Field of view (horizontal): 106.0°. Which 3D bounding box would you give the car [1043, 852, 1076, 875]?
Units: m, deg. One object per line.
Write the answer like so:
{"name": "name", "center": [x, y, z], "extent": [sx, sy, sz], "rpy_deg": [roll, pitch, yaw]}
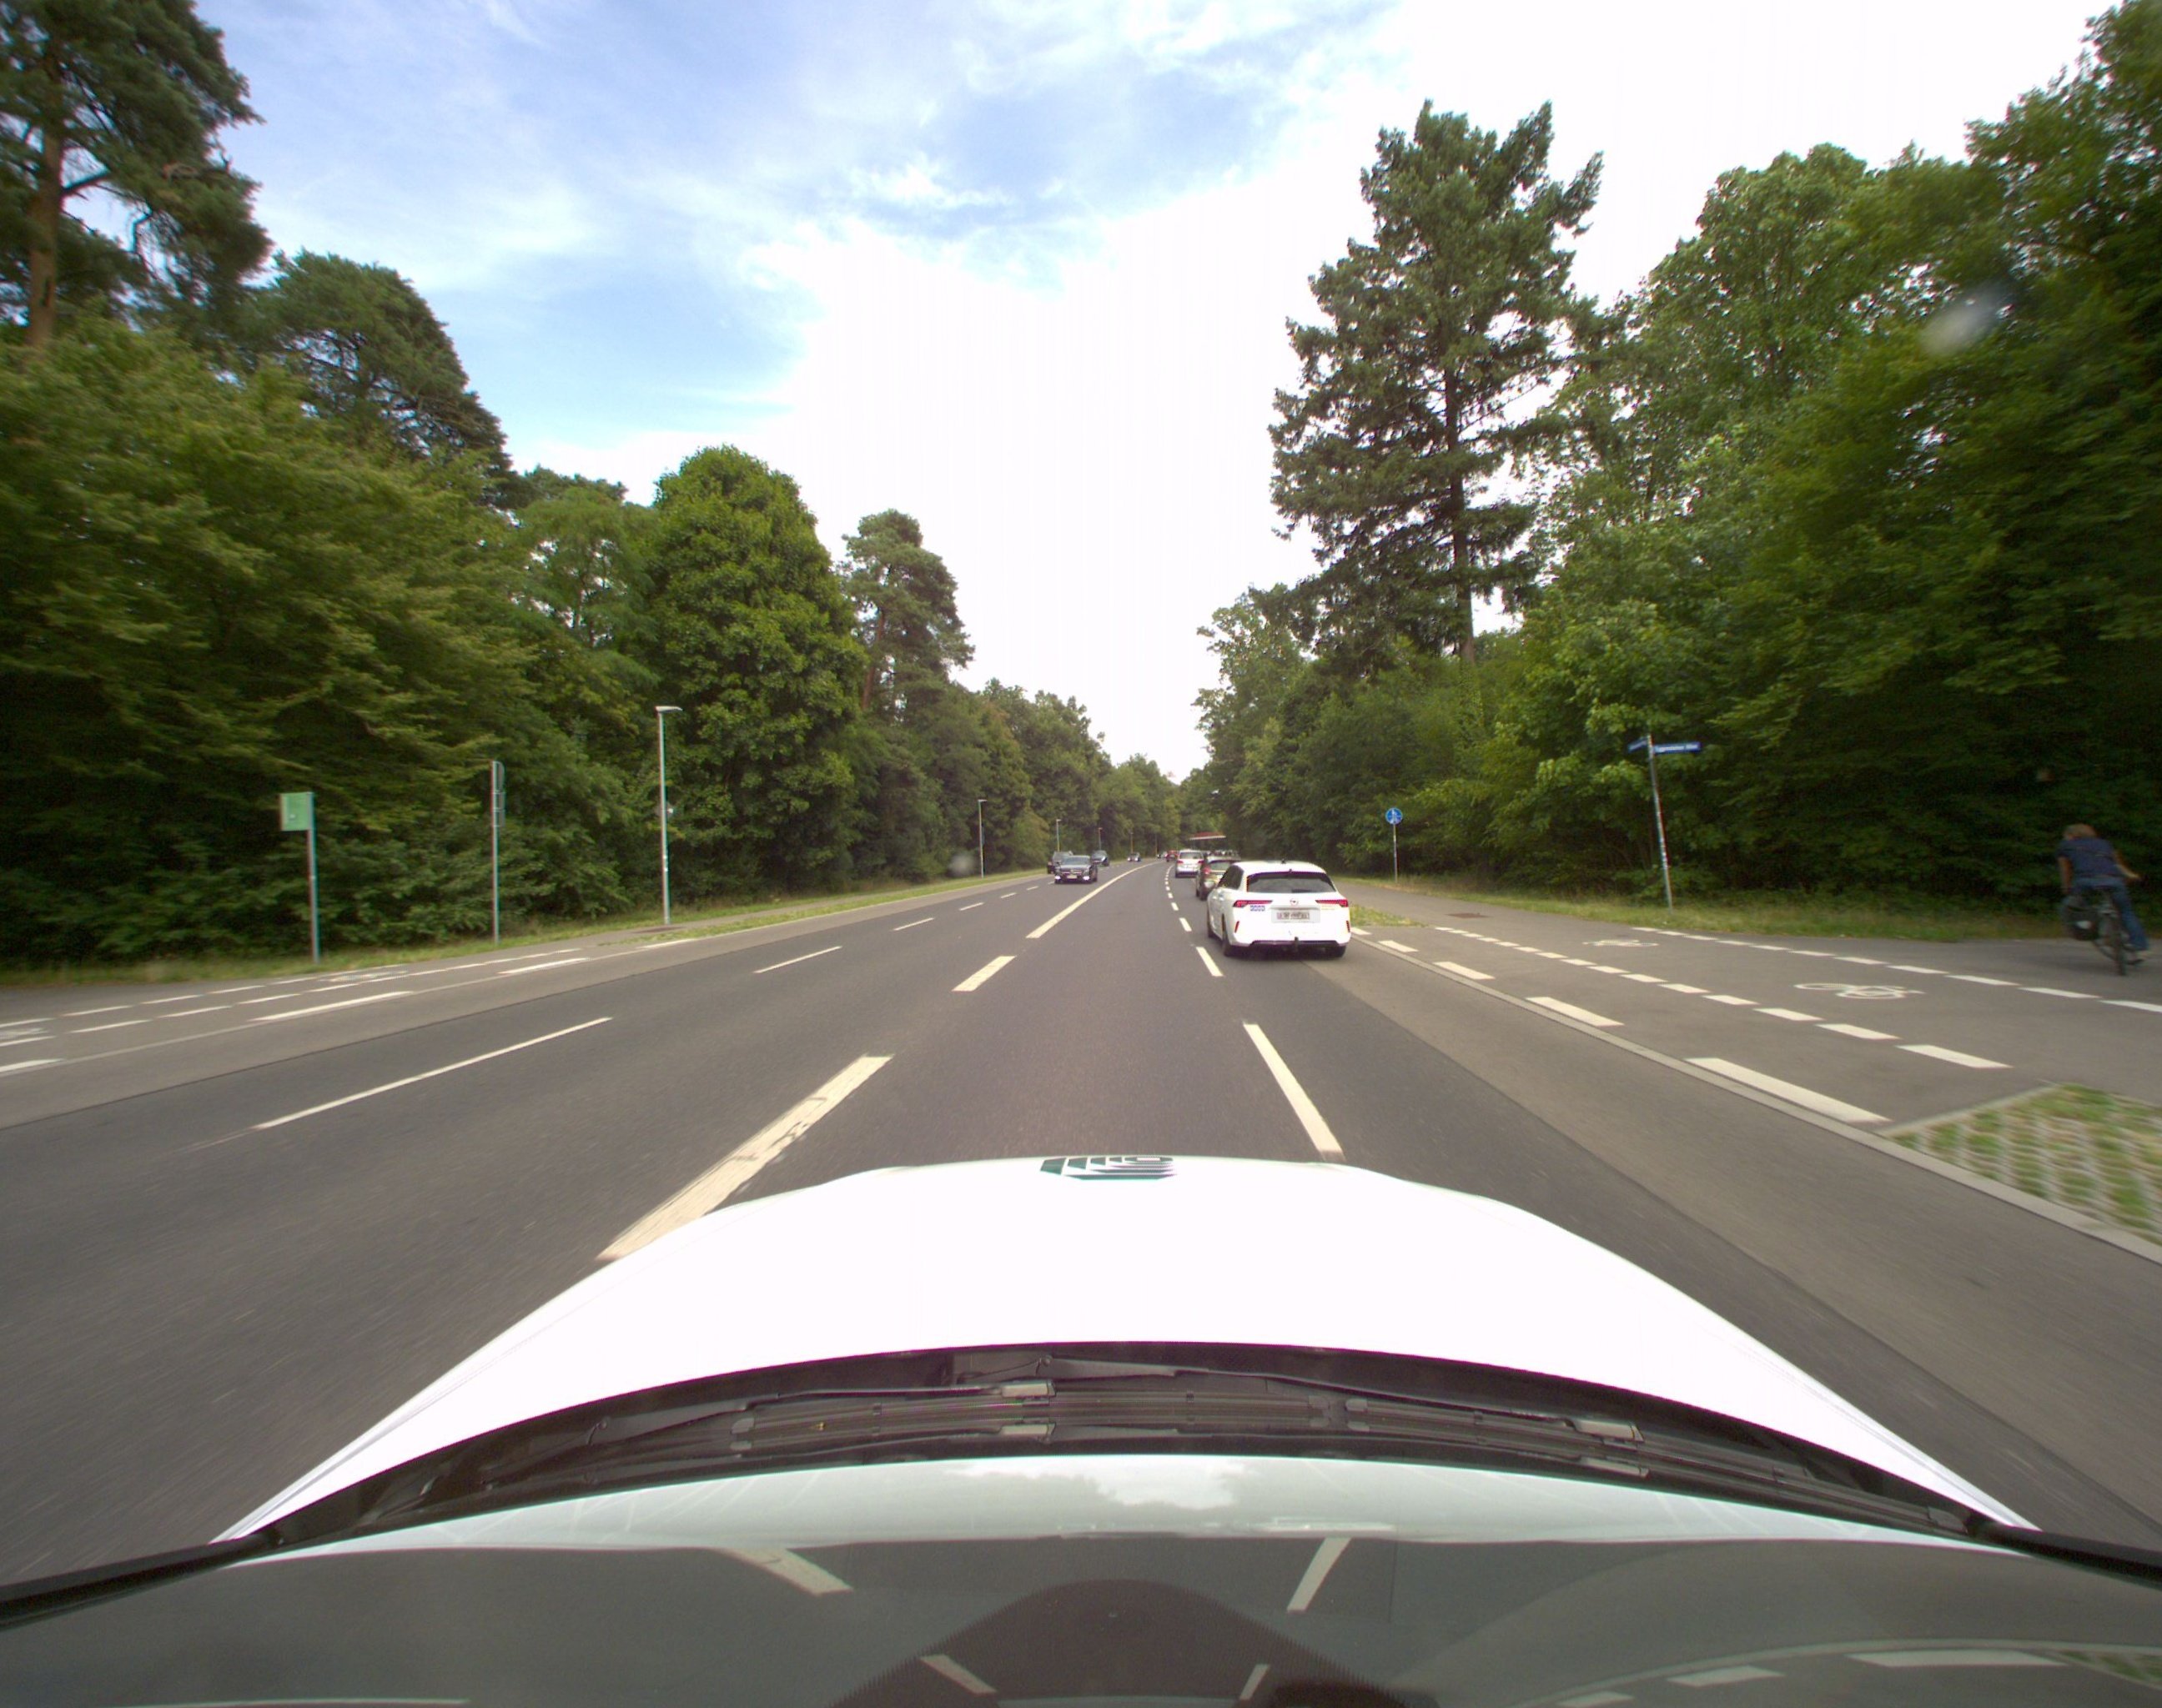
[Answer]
{"name": "car", "center": [-1.517, 0.693, 60.061], "extent": [1.914, 1.655, 4.476], "rpy_deg": [0, -1, 5]}

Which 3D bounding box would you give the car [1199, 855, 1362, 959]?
{"name": "car", "center": [3.055, 0.728, 13.394], "extent": [1.828, 1.410, 4.495], "rpy_deg": [0, 0, 3]}

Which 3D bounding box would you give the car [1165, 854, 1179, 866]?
{"name": "car", "center": [13.403, 0.894, 119.806], "extent": [1.718, 1.587, 4.013], "rpy_deg": [1, -1, 13]}

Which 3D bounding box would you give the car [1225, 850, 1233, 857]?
{"name": "car", "center": [42.054, -0.151, 231.552], "extent": [1.980, 1.706, 4.014], "rpy_deg": [-1, 0, 13]}

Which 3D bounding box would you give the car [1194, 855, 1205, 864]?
{"name": "car", "center": [25.895, 1.183, 177.573], "extent": [1.979, 1.783, 4.015], "rpy_deg": [1, -1, 15]}

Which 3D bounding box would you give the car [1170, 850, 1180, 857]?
{"name": "car", "center": [21.869, -0.031, 189.158], "extent": [1.981, 1.563, 4.617], "rpy_deg": [1, -1, 11]}

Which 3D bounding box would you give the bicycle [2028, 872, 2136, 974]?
{"name": "bicycle", "center": [11.472, 0.731, 9.314], "extent": [2.191, 0.994, 0.703], "rpy_deg": [-1, -1, -38]}

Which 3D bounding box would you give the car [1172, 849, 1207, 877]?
{"name": "car", "center": [6.690, 0.552, 50.509], "extent": [1.984, 1.607, 4.006], "rpy_deg": [1, -1, 5]}

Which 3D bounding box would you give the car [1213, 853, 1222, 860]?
{"name": "car", "center": [33.731, 0.603, 201.220], "extent": [1.979, 1.783, 4.014], "rpy_deg": [1, -1, 14]}

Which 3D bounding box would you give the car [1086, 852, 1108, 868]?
{"name": "car", "center": [1.784, 0.688, 88.165], "extent": [1.983, 1.617, 4.671], "rpy_deg": [1, -1, 6]}

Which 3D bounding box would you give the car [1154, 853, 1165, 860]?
{"name": "car", "center": [16.295, 0.510, 168.776], "extent": [1.869, 1.443, 4.416], "rpy_deg": [1, -1, 11]}

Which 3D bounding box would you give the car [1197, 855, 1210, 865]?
{"name": "car", "center": [22.851, 1.106, 151.789], "extent": [1.980, 1.783, 4.012], "rpy_deg": [1, -1, 12]}

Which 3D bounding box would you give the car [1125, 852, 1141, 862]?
{"name": "car", "center": [8.103, 0.490, 126.805], "extent": [1.885, 1.484, 4.550], "rpy_deg": [1, -1, 10]}

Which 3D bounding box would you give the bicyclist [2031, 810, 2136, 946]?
{"name": "bicyclist", "center": [11.458, 0.258, 9.306], "extent": [0.905, 1.470, 0.703], "rpy_deg": [-1, -1, -37]}

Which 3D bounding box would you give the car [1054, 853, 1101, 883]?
{"name": "car", "center": [-0.131, 0.725, 42.195], "extent": [1.984, 1.435, 4.728], "rpy_deg": [0, -1, 5]}

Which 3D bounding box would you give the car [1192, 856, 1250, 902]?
{"name": "car", "center": [4.705, 0.818, 27.766], "extent": [1.627, 1.420, 4.005], "rpy_deg": [1, -1, 5]}
